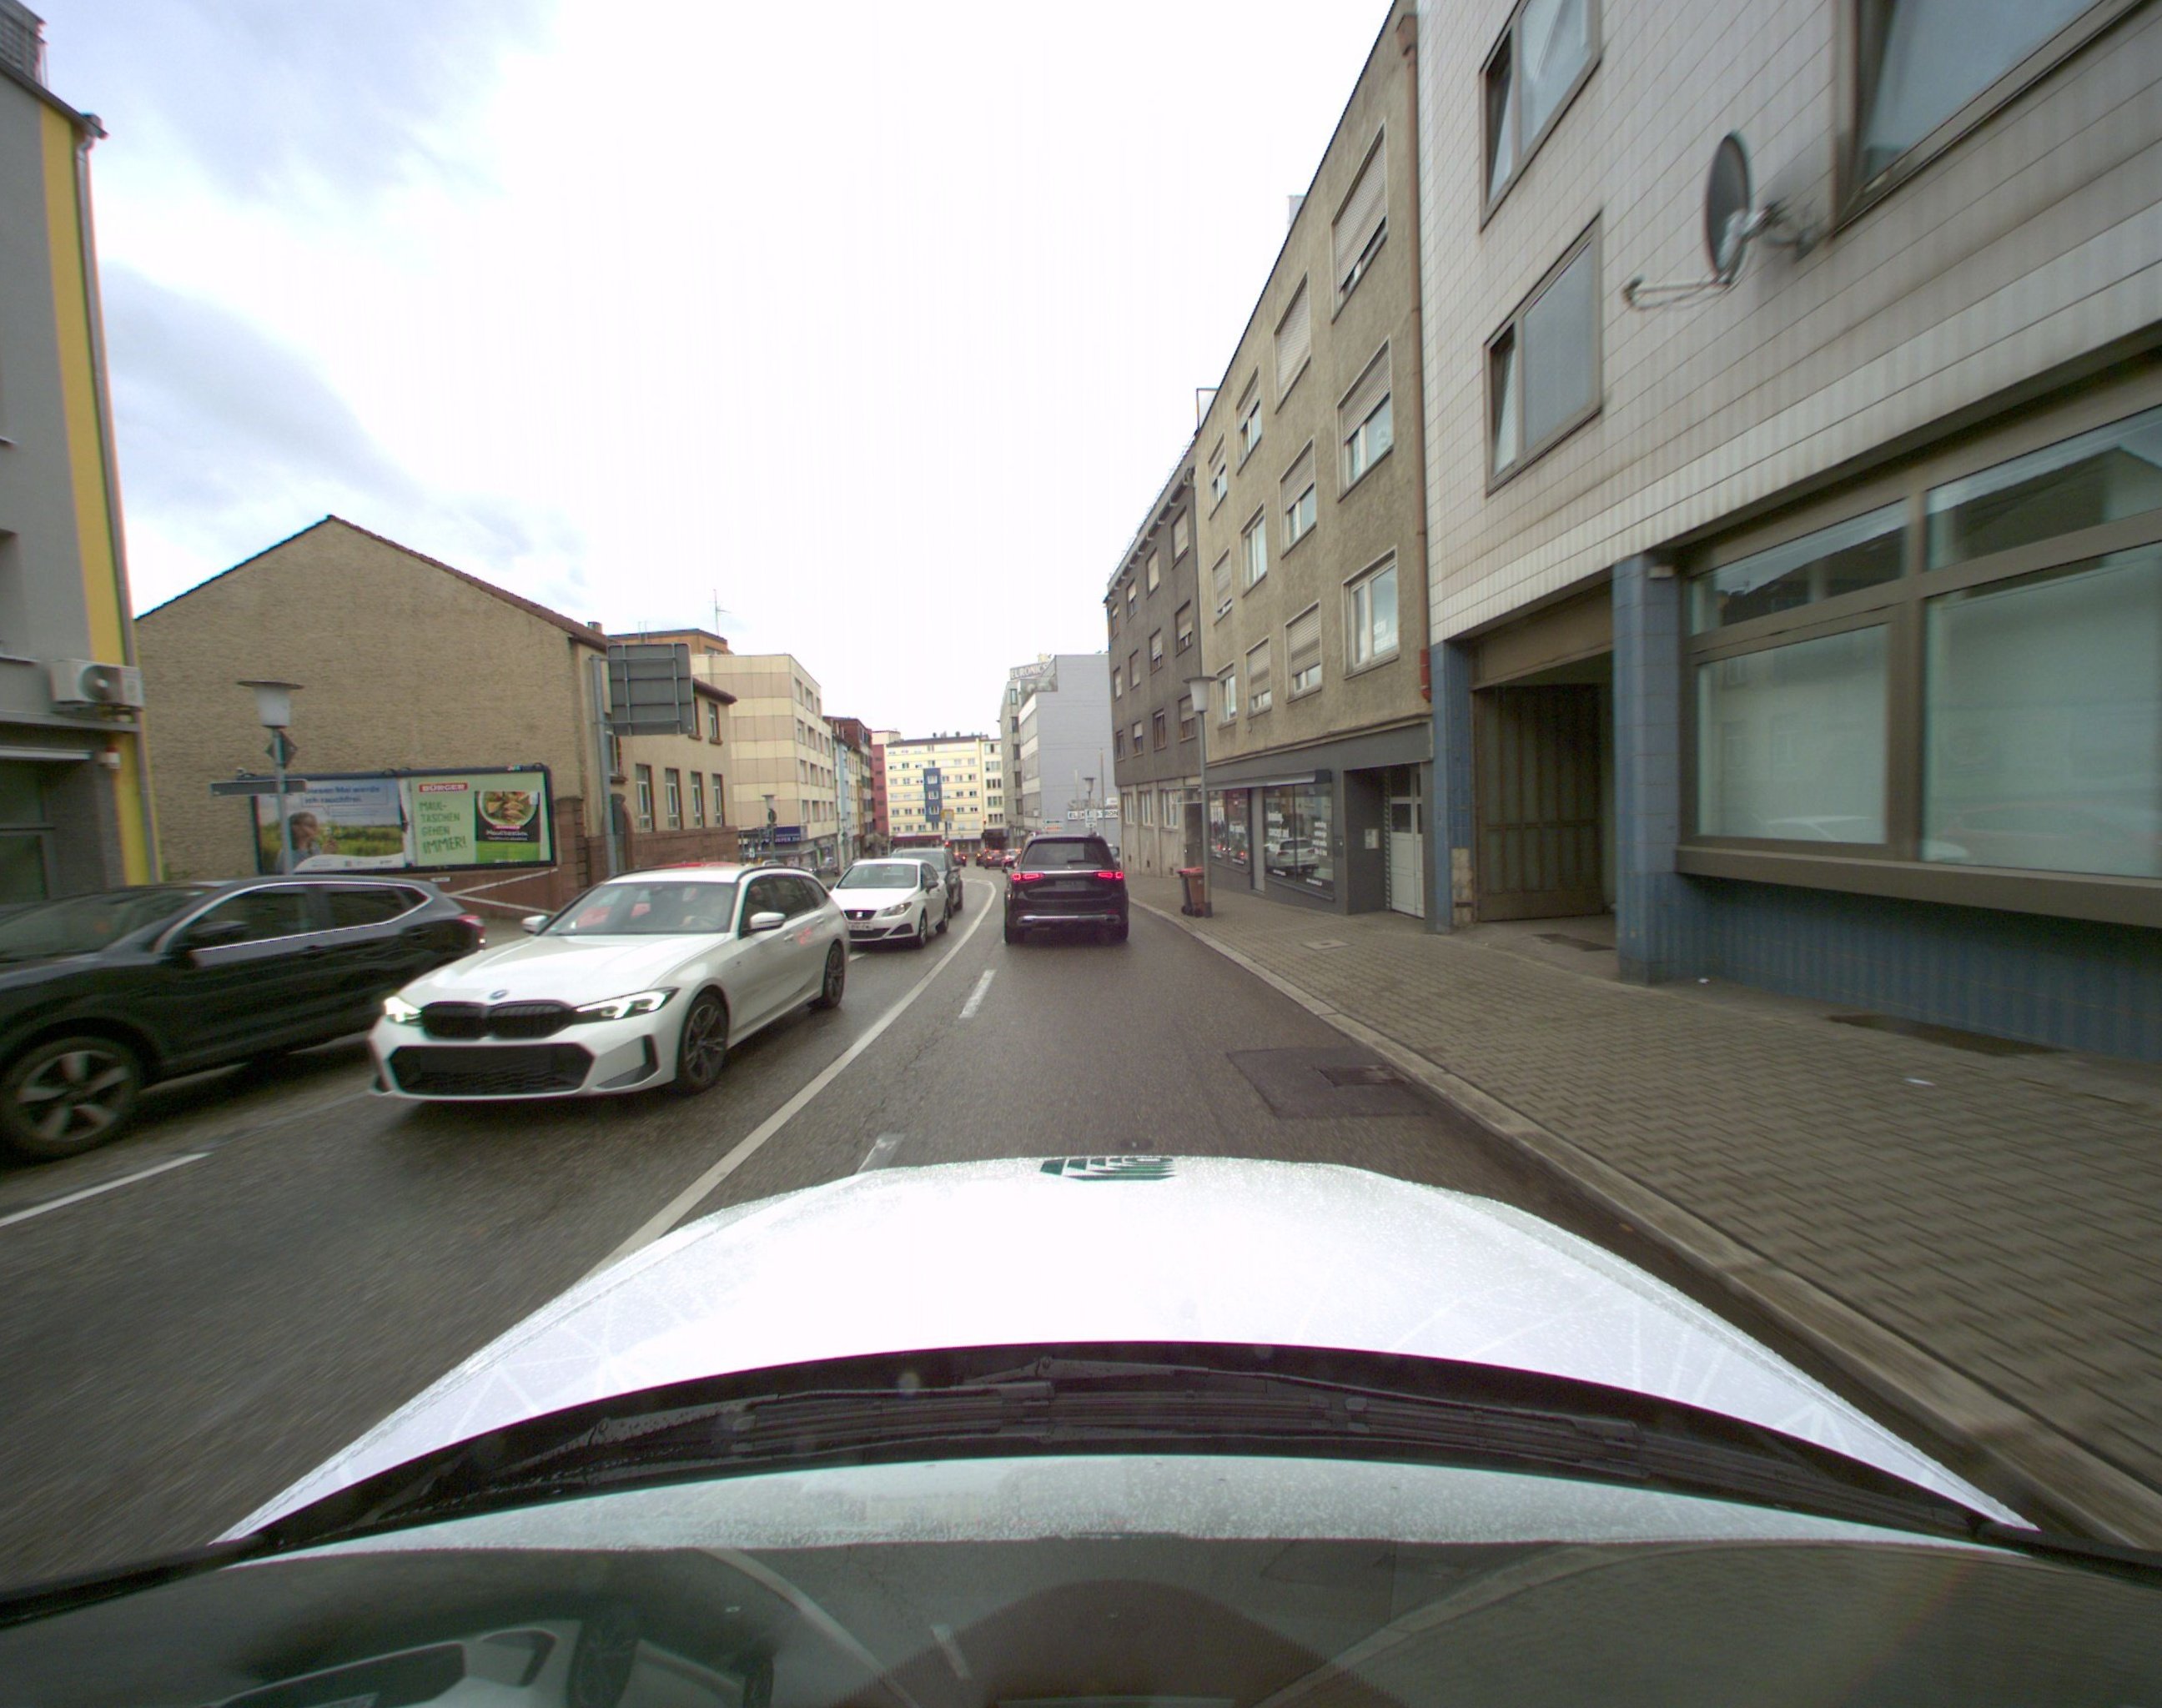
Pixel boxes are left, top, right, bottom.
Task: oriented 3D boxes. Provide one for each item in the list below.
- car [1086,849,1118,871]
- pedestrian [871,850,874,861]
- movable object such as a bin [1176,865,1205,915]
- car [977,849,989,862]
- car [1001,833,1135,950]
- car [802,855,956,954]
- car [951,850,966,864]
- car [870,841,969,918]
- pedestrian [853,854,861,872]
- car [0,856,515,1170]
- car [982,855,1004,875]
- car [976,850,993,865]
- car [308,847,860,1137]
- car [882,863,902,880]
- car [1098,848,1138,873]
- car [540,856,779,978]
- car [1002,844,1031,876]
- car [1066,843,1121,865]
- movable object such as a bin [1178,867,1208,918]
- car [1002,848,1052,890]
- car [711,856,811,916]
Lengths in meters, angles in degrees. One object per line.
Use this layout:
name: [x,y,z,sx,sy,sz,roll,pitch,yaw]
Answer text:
car: [1.426,0.385,57.018,1.565,1.477,4.057,-1,0,-9]
pedestrian: [-27.768,0.179,108.588,0.317,1.474,0.338,-1,4,-5]
movable object such as a bin: [2.284,0.750,17.070,0.523,0.980,0.537,-1,4,-1]
car: [-12.629,0.204,105.150,1.521,1.548,3.100,-2,1,-7]
car: [-0.355,0.563,14.832,2.017,1.739,4.740,-1,0,-4]
car: [-3.338,0.767,14.313,1.693,1.480,4.289,0,0,-1]
car: [-12.513,0.294,83.199,1.283,1.124,2.783,-1,4,-5]
car: [-3.911,0.576,20.444,1.803,1.705,4.556,0,0,-3]
pedestrian: [-22.073,0.899,80.233,0.740,1.652,0.603,-2,4,-12]
car: [-6.572,0.904,5.901,1.801,1.631,4.341,-4,0,0]
car: [-7.364,0.879,68.290,1.523,1.548,3.095,-2,1,-11]
car: [-10.122,0.365,85.611,1.523,1.548,3.095,-2,1,-11]
car: [-3.356,0.769,6.781,1.801,1.521,4.559,-2,0,-1]
car: [-19.166,1.774,82.695,1.716,1.586,4.127,-4,0,-11]
car: [2.296,0.393,51.718,1.795,1.477,4.473,-1,0,-8]
car: [-6.443,0.860,13.034,1.736,1.516,4.126,-4,0,-3]
car: [-4.317,0.348,54.270,1.752,1.779,3.567,-2,4,-7]
car: [0.986,-0.003,63.897,4.010,1.597,1.783,0,-1,-28]
movable object such as a bin: [2.272,0.772,16.507,0.523,0.950,0.537,-1,4,-1]
car: [-2.185,0.585,33.391,1.826,1.461,4.373,-4,0,-3]
car: [-9.933,0.933,25.596,1.652,1.610,3.924,-4,0,-3]
